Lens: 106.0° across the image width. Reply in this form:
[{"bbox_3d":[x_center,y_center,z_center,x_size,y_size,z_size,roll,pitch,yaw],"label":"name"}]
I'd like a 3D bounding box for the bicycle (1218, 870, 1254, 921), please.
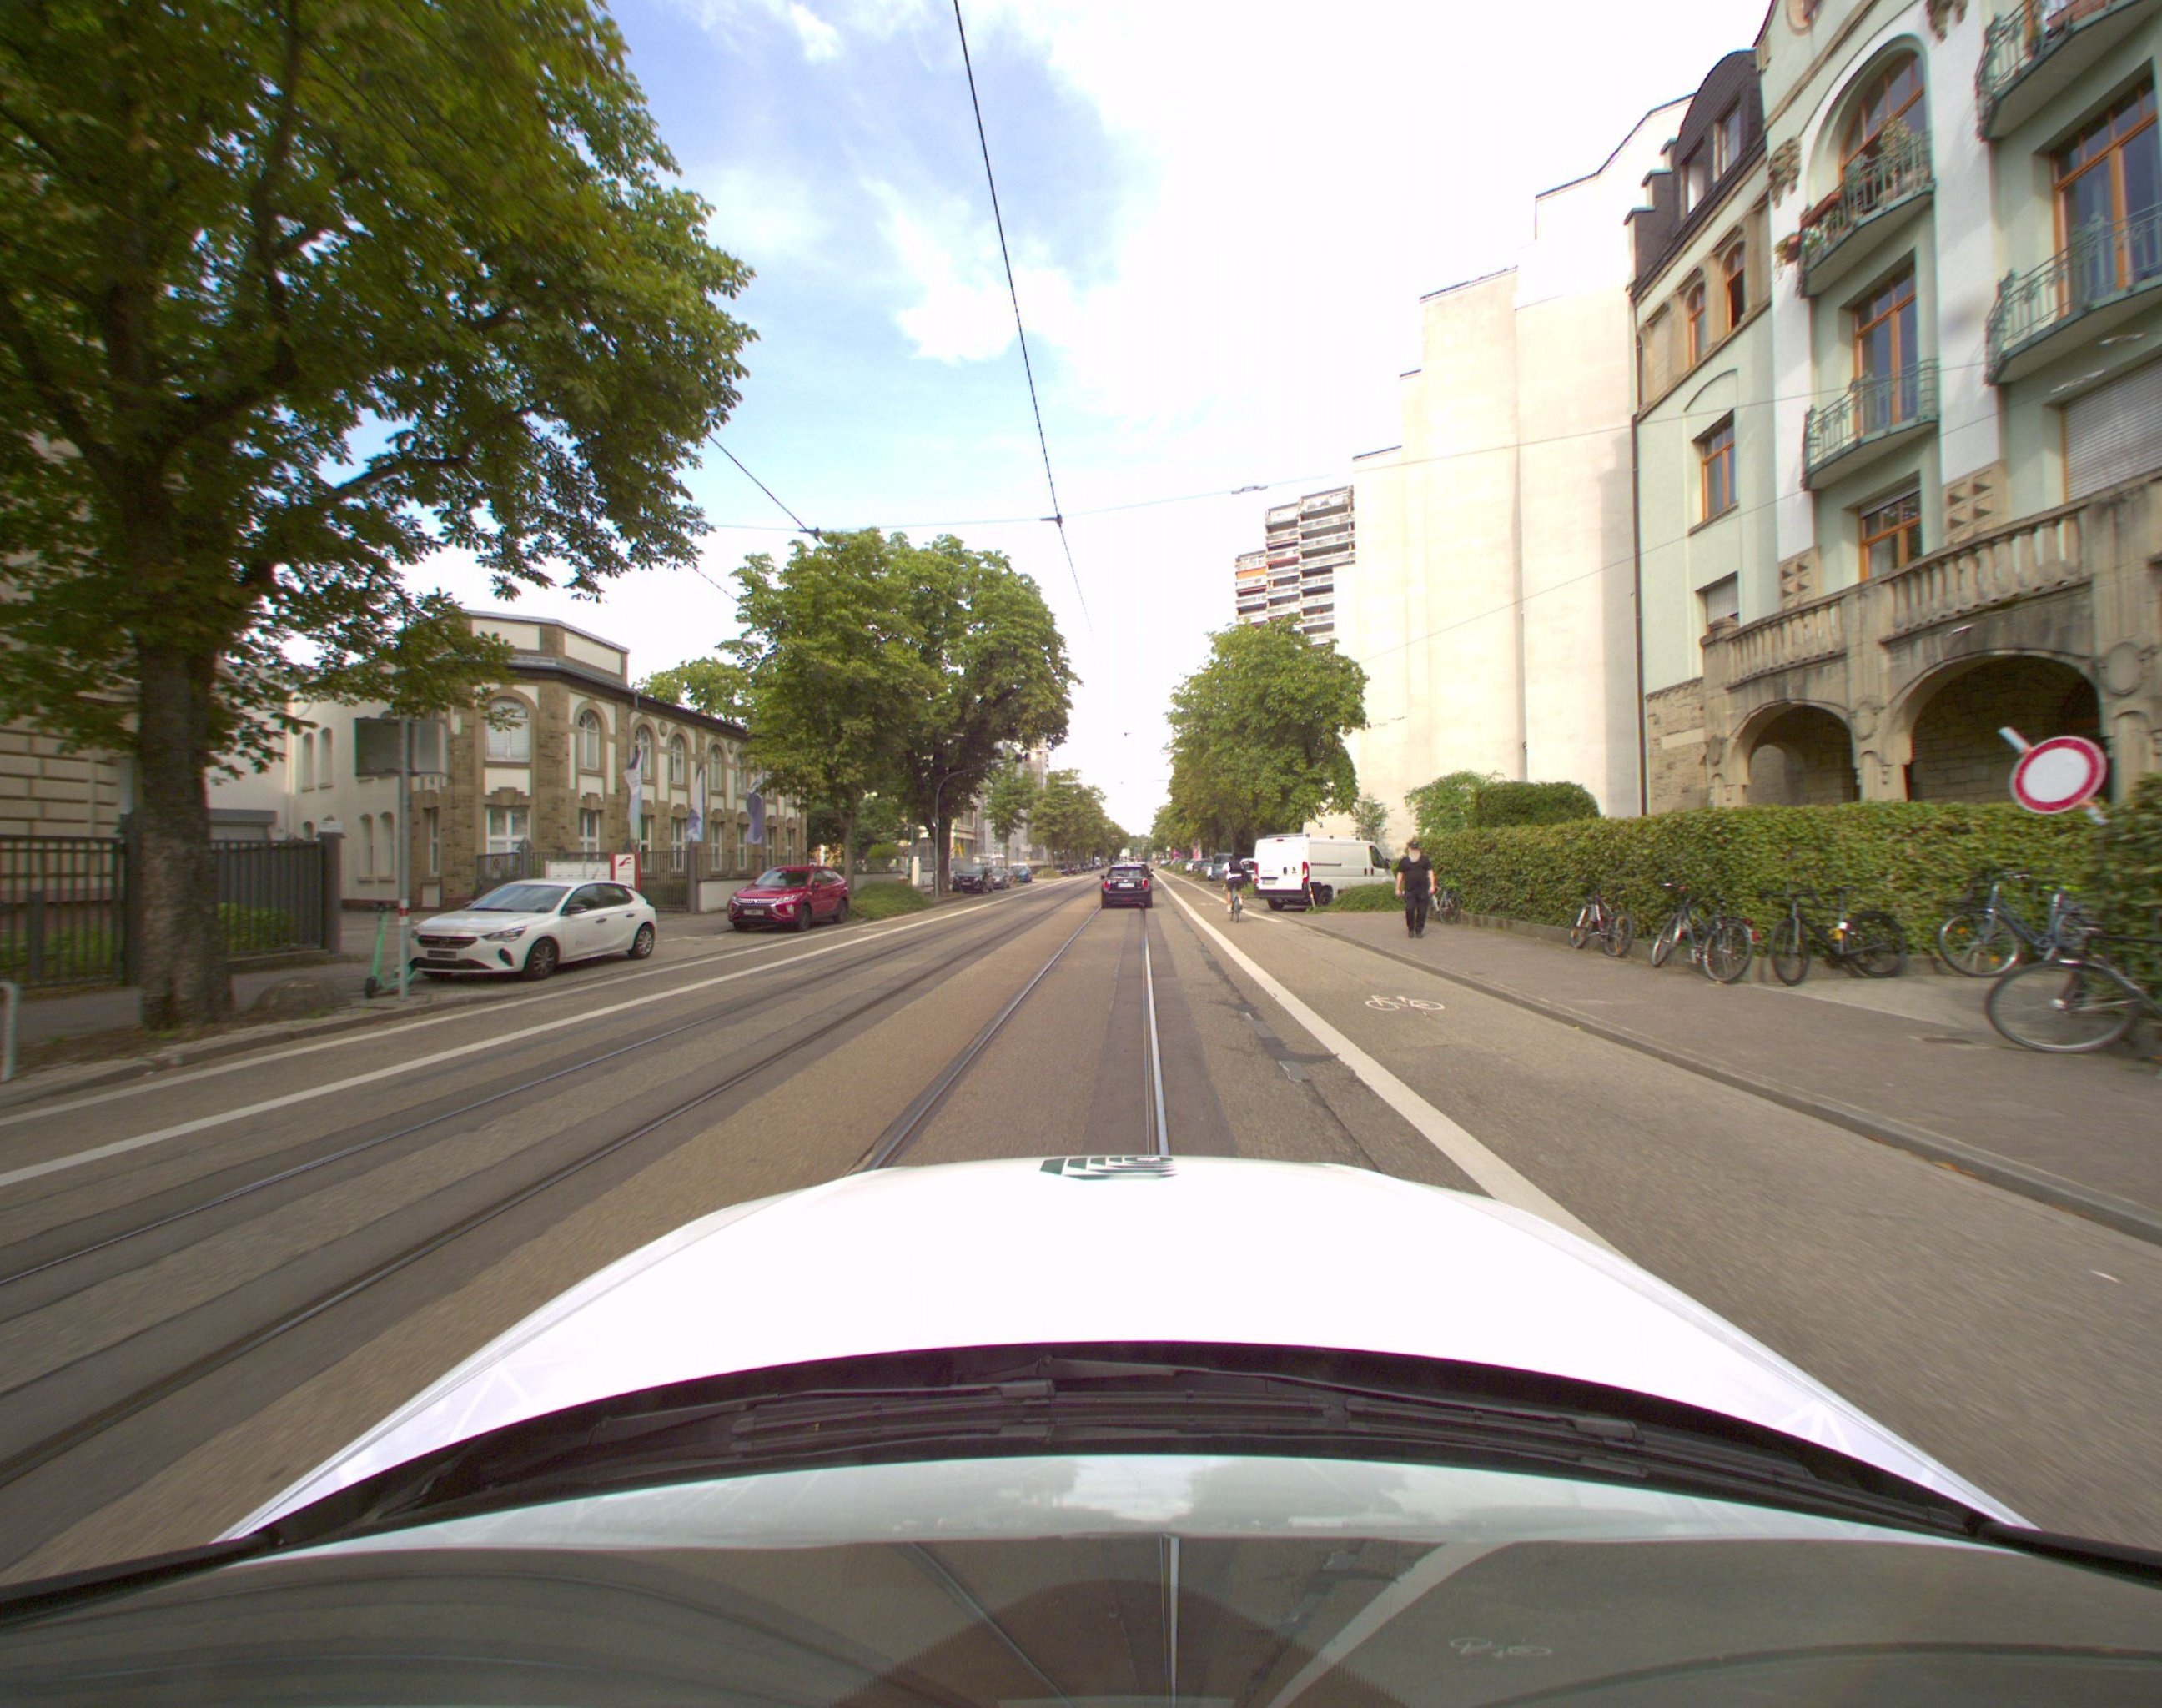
[{"bbox_3d":[4.041,1.063,21.372,0.654,1.249,2.126,0,-1,3],"label":"bicycle"}]

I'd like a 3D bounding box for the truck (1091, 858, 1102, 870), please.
[{"bbox_3d":[3.265,2.103,170.601,2.062,2.470,4.903,-2,-1,3],"label":"truck"}]

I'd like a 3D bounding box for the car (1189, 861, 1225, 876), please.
[{"bbox_3d":[12.862,1.447,83.058,3.461,1.442,1.543,0,-1,-35],"label":"car"}]

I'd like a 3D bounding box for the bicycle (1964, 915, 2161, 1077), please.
[{"bbox_3d":[6.717,0.885,5.065,0.485,0.907,1.660,-2,-1,-7],"label":"bicycle"}]

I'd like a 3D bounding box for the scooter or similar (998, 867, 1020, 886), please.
[{"bbox_3d":[-5.185,1.613,58.905,1.436,1.344,0.701,-2,-1,5],"label":"scooter or similar"}]

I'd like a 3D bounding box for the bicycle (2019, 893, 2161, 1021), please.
[{"bbox_3d":[8.275,0.753,6.100,1.648,0.907,0.489,-2,-2,12],"label":"bicycle"}]

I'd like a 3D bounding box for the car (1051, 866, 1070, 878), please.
[{"bbox_3d":[-2.419,2.087,96.775,1.795,1.374,4.034,-2,-1,3],"label":"car"}]

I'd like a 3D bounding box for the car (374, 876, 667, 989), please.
[{"bbox_3d":[-8.636,1.118,13.071,1.714,1.424,4.026,1,-1,3],"label":"car"}]

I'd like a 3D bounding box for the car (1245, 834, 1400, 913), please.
[{"bbox_3d":[7.810,0.597,26.137,4.983,2.290,2.357,0,-1,-39],"label":"car"}]

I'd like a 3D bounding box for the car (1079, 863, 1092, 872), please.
[{"bbox_3d":[0.753,2.265,137.018,1.795,1.583,4.034,-2,-1,3],"label":"car"}]

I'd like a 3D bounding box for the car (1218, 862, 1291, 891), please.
[{"bbox_3d":[9.280,1.175,43.487,3.995,1.433,1.670,0,-1,-39],"label":"car"}]

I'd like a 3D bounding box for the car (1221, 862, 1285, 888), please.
[{"bbox_3d":[9.894,1.199,46.770,3.736,1.433,1.669,0,-1,-41],"label":"car"}]

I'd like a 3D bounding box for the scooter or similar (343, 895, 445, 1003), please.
[{"bbox_3d":[-8.671,1.156,10.333,0.563,1.223,1.315,0,-1,-20],"label":"scooter or similar"}]

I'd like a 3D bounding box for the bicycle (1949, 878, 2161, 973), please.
[{"bbox_3d":[10.191,0.729,8.481,1.652,0.907,0.488,-2,-1,4],"label":"bicycle"}]

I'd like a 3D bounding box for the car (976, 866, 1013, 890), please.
[{"bbox_3d":[-5.377,1.472,51.009,1.686,1.427,3.871,0,-1,3],"label":"car"}]

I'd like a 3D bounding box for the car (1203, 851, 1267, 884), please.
[{"bbox_3d":[10.078,0.877,53.161,4.298,2.015,1.809,1,-1,-41],"label":"car"}]

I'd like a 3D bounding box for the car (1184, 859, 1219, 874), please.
[{"bbox_3d":[12.699,1.291,85.876,3.461,1.573,1.543,0,-1,-35],"label":"car"}]

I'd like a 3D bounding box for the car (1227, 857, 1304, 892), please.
[{"bbox_3d":[9.250,1.017,40.630,4.131,1.668,1.669,1,-1,-42],"label":"car"}]

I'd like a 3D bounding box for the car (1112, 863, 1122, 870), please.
[{"bbox_3d":[7.225,2.458,162.000,1.827,1.448,4.557,-1,-1,3],"label":"car"}]

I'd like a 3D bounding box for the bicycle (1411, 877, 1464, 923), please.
[{"bbox_3d":[7.732,0.974,17.729,0.384,0.907,1.843,-2,-1,2],"label":"bicycle"}]

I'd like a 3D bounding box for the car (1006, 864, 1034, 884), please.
[{"bbox_3d":[-4.696,1.530,63.006,1.686,1.487,3.680,0,-1,3],"label":"car"}]

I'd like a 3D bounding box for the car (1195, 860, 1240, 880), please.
[{"bbox_3d":[11.176,1.296,66.395,3.759,1.522,1.621,0,-1,-41],"label":"car"}]

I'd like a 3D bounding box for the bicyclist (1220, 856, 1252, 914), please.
[{"bbox_3d":[4.043,0.788,21.284,0.654,1.463,1.179,0,-1,3],"label":"bicyclist"}]

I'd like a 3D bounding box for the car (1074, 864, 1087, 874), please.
[{"bbox_3d":[-0.099,2.310,126.968,1.795,1.583,4.034,-2,-1,3],"label":"car"}]

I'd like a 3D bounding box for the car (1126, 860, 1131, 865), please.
[{"bbox_3d":[15.155,2.768,260.049,1.795,1.622,4.488,-2,-1,3],"label":"car"}]

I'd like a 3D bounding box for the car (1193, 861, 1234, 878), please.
[{"bbox_3d":[11.950,1.403,73.149,3.759,1.459,1.621,0,-1,-41],"label":"car"}]

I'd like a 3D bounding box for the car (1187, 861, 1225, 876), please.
[{"bbox_3d":[12.260,1.428,79.853,3.550,1.442,1.606,0,-1,-35],"label":"car"}]

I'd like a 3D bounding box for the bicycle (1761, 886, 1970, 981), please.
[{"bbox_3d":[8.235,0.824,8.585,1.653,0.907,0.487,-2,-1,2],"label":"bicycle"}]

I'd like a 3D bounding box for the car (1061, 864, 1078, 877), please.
[{"bbox_3d":[-1.482,2.137,107.392,1.795,1.583,4.034,-2,-1,3],"label":"car"}]

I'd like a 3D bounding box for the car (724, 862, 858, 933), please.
[{"bbox_3d":[-7.625,1.075,21.902,1.714,1.655,4.546,1,-1,3],"label":"car"}]

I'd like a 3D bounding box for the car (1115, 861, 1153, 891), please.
[{"bbox_3d":[2.754,1.117,43.168,1.787,1.470,4.000,1,-1,1],"label":"car"}]

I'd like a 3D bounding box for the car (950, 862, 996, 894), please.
[{"bbox_3d":[-5.844,1.280,44.549,1.748,1.647,4.055,0,-1,3],"label":"car"}]

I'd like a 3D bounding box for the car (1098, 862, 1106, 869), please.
[{"bbox_3d":[5.116,2.814,201.931,1.795,1.583,4.034,-2,-1,3],"label":"car"}]

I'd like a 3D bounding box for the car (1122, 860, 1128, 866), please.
[{"bbox_3d":[12.981,2.609,240.943,1.795,1.823,4.488,-2,-1,3],"label":"car"}]

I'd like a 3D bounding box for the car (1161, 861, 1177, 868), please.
[{"bbox_3d":[22.506,2.651,208.661,3.973,1.910,2.000,0,-1,1],"label":"car"}]

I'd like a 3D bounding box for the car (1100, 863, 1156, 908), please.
[{"bbox_3d":[1.572,1.030,28.134,1.787,1.423,4.001,0,-1,2],"label":"car"}]

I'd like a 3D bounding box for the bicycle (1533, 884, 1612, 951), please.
[{"bbox_3d":[7.481,0.938,12.461,0.384,0.907,1.669,-2,-1,8],"label":"bicycle"}]

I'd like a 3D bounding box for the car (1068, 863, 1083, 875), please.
[{"bbox_3d":[-0.792,2.127,116.247,1.795,1.583,4.034,-2,-1,3],"label":"car"}]

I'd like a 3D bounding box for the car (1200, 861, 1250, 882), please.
[{"bbox_3d":[10.593,1.278,59.608,3.850,1.460,1.620,1,-1,-43],"label":"car"}]

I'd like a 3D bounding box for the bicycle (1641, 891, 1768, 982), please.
[{"bbox_3d":[7.189,0.916,9.480,0.384,0.907,1.669,-2,-1,8],"label":"bicycle"}]

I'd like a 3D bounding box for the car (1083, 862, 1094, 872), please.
[{"bbox_3d":[1.377,2.339,146.131,1.795,1.583,4.034,-2,-1,3],"label":"car"}]

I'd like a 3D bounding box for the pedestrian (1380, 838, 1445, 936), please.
[{"bbox_3d":[6.154,0.601,15.143,0.782,1.733,0.897,-3,-1,3],"label":"pedestrian"}]
